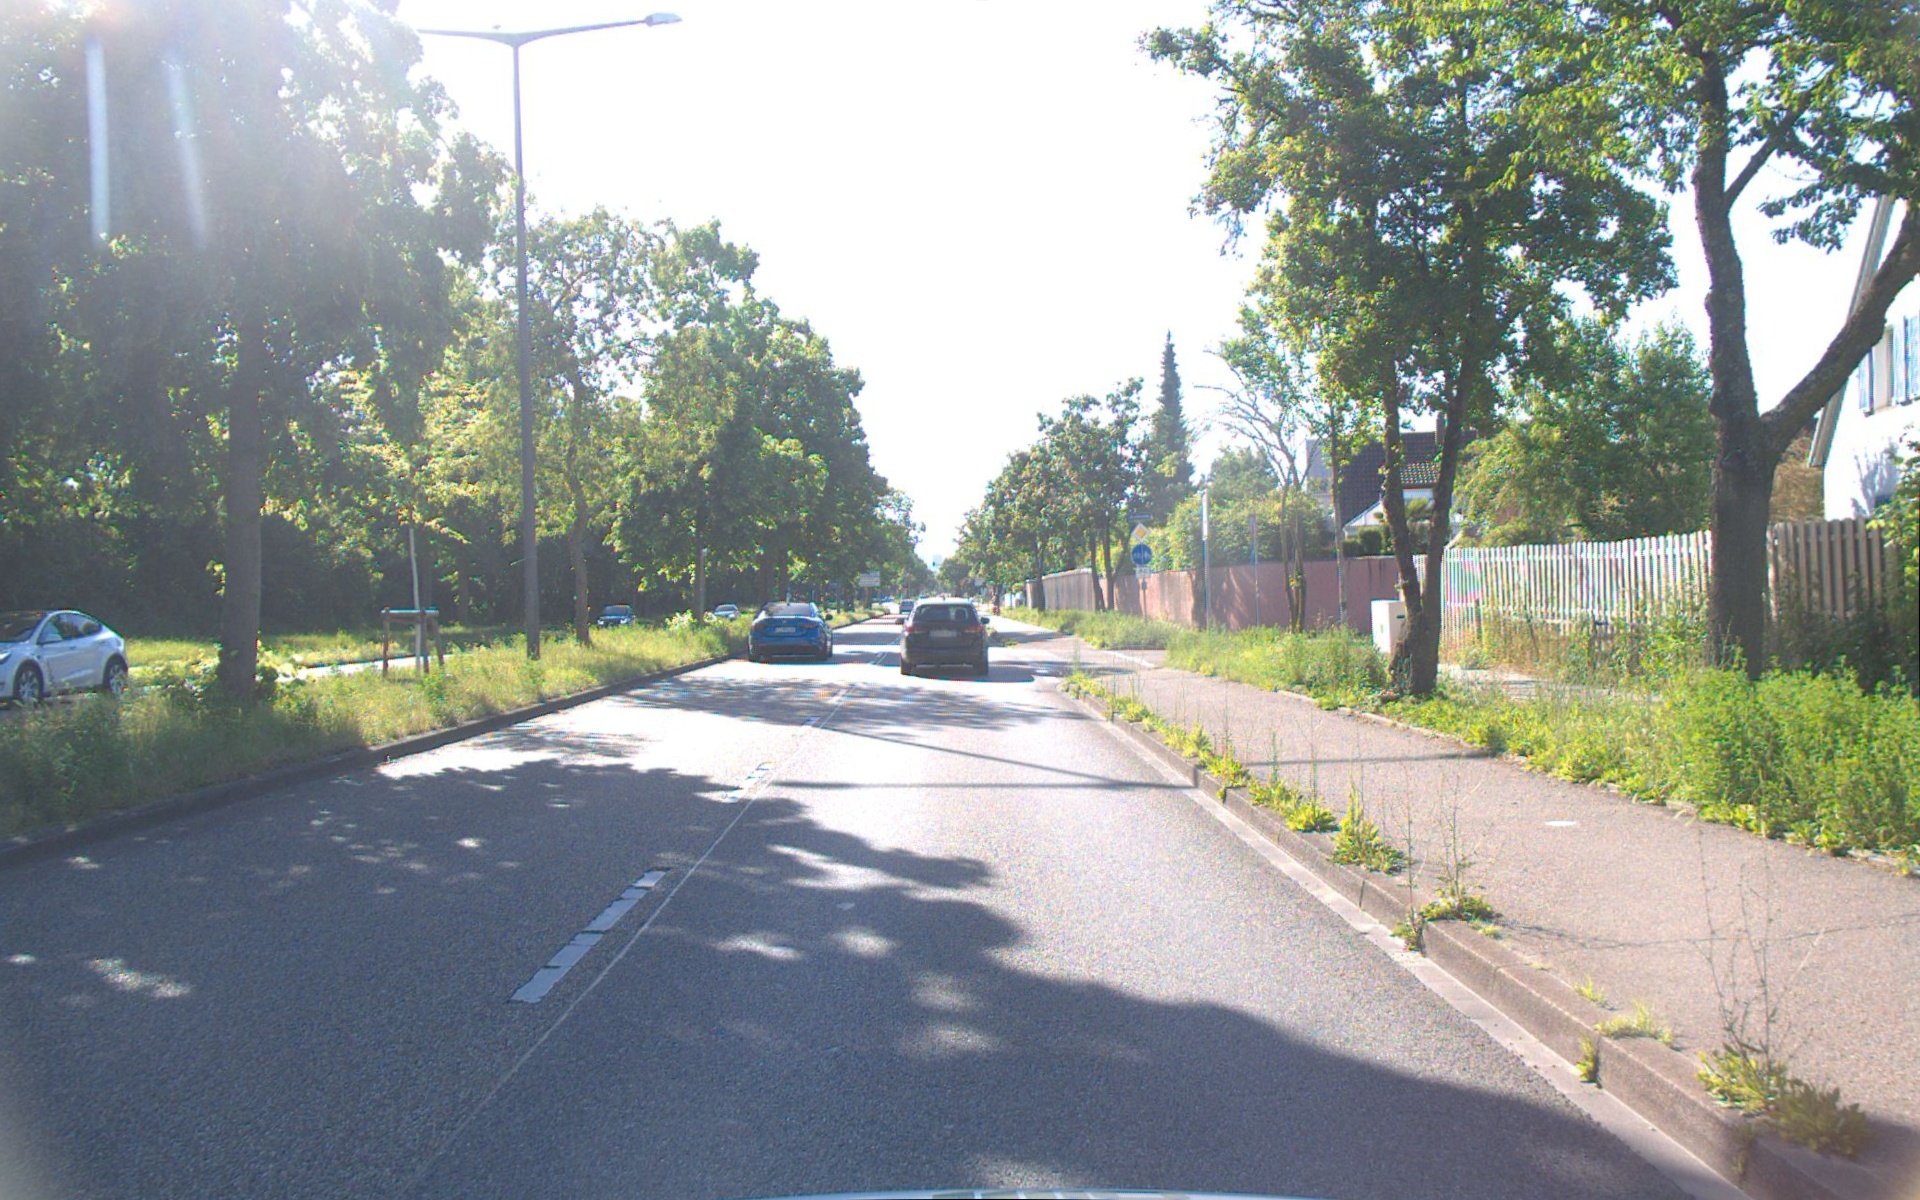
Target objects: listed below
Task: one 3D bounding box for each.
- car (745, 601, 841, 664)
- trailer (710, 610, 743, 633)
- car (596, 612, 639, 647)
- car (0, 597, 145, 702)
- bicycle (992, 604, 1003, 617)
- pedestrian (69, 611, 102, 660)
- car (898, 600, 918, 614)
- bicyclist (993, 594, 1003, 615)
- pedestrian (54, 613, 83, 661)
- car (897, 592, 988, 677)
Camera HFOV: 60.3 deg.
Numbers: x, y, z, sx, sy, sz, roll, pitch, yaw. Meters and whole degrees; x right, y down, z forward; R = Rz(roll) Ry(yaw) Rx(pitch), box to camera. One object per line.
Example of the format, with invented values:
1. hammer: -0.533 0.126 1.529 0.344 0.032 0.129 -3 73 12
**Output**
1. car: -4.034 0.754 40.502 1.954 1.429 3.999 -1 0 -1
2. trailer: -16.923 1.552 119.983 1.705 1.449 4.496 -3 0 0
3. car: -17.030 1.467 82.344 1.682 1.531 3.012 -4 1 -6
4. car: -16.008 0.875 28.365 1.804 1.616 4.583 -6 1 -2
5. bicycle: 2.603 0.715 114.819 0.642 0.908 1.874 -1 0 -1
6. pedestrian: -27.310 1.103 51.649 0.533 1.485 0.917 -1 0 -1
7. car: -5.719 0.758 180.473 1.939 1.465 3.997 -1 1 -5
8. bicyclist: 2.616 0.297 114.826 0.666 1.443 0.812 -1 0 -1
9. pedestrian: -27.792 1.151 51.567 0.533 1.485 0.596 -1 0 -1
10. car: -0.323 0.665 33.487 1.724 1.586 4.000 1 0 0
